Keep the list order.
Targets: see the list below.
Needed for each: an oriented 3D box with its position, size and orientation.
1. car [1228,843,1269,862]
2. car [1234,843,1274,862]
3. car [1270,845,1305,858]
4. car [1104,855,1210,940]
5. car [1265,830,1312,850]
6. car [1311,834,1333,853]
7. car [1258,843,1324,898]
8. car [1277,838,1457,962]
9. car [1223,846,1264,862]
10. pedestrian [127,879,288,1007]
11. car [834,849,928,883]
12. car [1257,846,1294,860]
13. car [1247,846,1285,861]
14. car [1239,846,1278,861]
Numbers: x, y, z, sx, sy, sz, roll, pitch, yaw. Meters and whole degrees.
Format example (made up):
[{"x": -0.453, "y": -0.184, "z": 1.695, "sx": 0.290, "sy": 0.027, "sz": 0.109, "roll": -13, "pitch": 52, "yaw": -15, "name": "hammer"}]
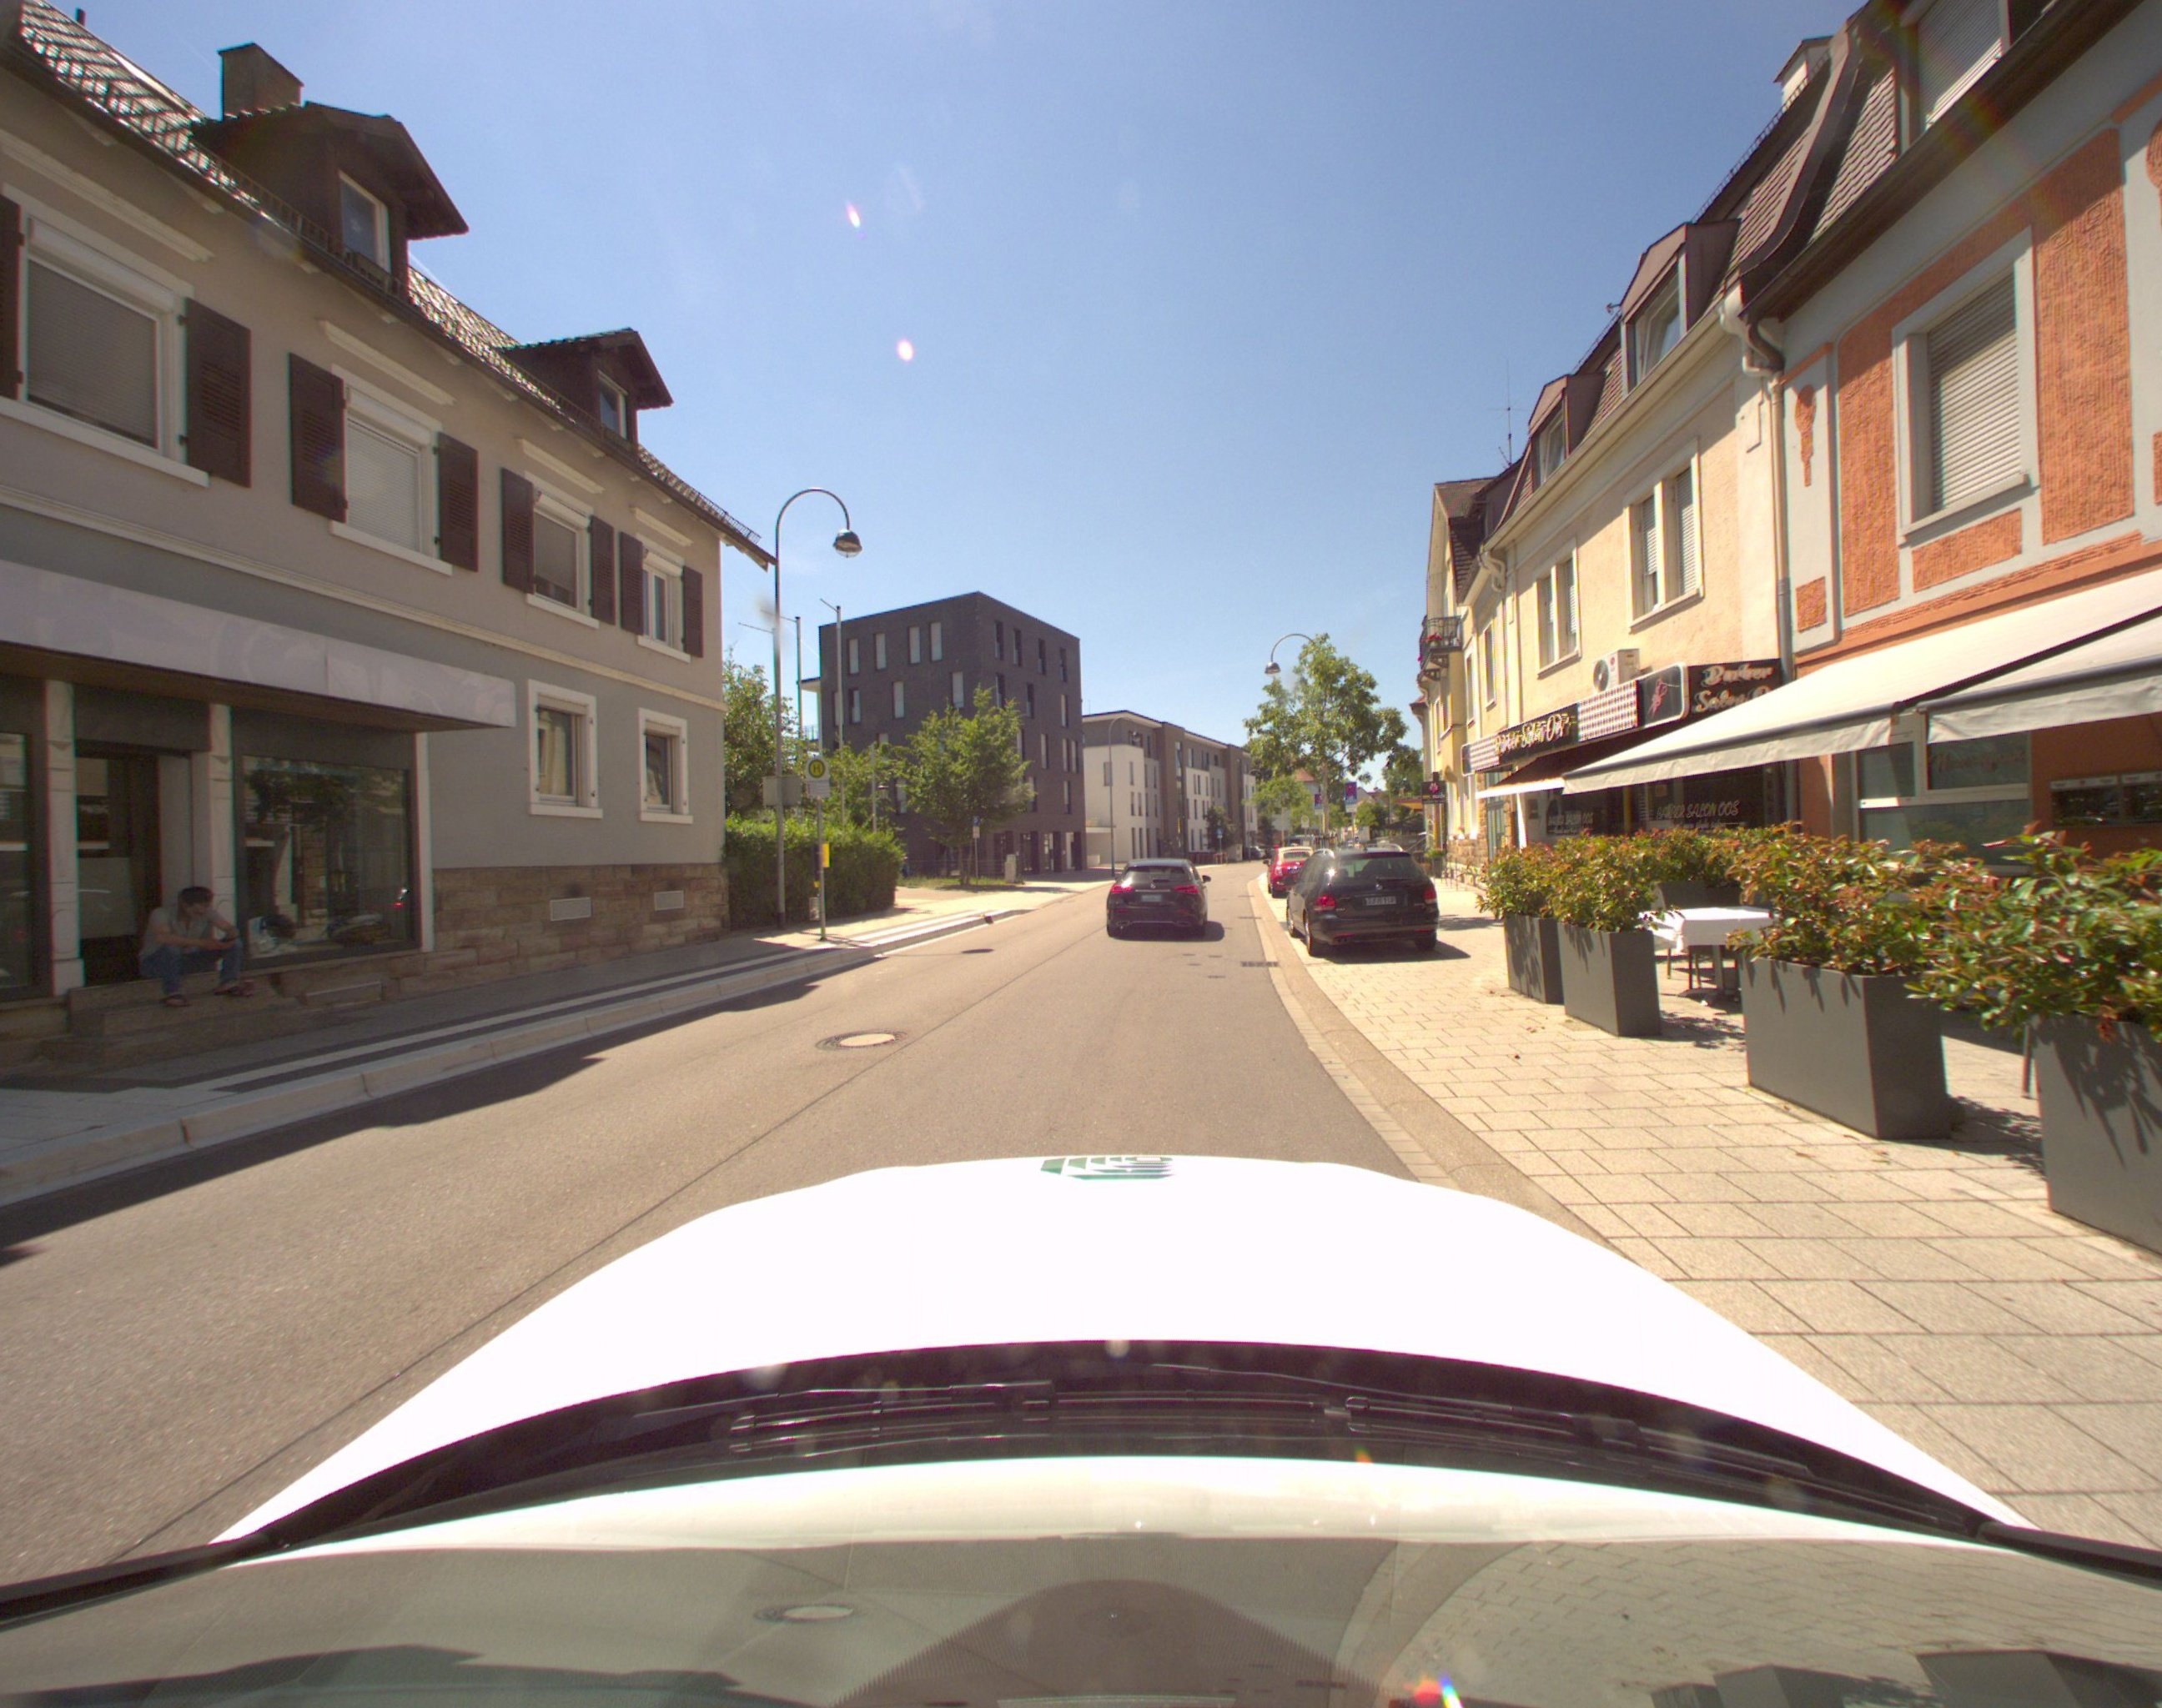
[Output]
[{"x": 18.475, "y": -0.189, "z": 89.832, "sx": 3.949, "sy": 2.013, "sz": 2.012, "roll": -1, "pitch": 0, "yaw": 30, "name": "car"}, {"x": 19.565, "y": -0.155, "z": 91.969, "sx": 3.949, "sy": 2.013, "sz": 2.012, "roll": -1, "pitch": 0, "yaw": 30, "name": "car"}, {"x": 26.710, "y": -0.338, "z": 105.286, "sx": 3.949, "sy": 1.662, "sz": 2.012, "roll": -1, "pitch": 0, "yaw": 29, "name": "car"}, {"x": 1.658, "y": 0.748, "z": 16.354, "sx": 1.752, "sy": 1.457, "sz": 4.451, "roll": 0, "pitch": 0, "yaw": 10, "name": "car"}, {"x": 28.154, "y": -1.860, "z": 110.386, "sx": 5.588, "sy": 2.579, "sz": 2.531, "roll": -1, "pitch": 0, "yaw": 30, "name": "car"}, {"x": 25.761, "y": -1.100, "z": 86.926, "sx": 1.977, "sy": 2.013, "sz": 4.019, "roll": -1, "pitch": 0, "yaw": 19, "name": "car"}, {"x": 6.532, "y": 0.470, "z": 25.639, "sx": 1.596, "sy": 1.530, "sz": 3.500, "roll": -3, "pitch": 0, "yaw": 8, "name": "car"}, {"x": 4.134, "y": 0.593, "z": 12.423, "sx": 1.740, "sy": 1.486, "sz": 4.009, "roll": -4, "pitch": -1, "yaw": 8, "name": "car"}, {"x": 17.462, "y": 0.021, "z": 87.530, "sx": 3.949, "sy": 1.662, "sz": 2.012, "roll": -1, "pitch": 0, "yaw": 29, "name": "car"}, {"x": -7.746, "y": 0.767, "z": 7.251, "sx": 0.667, "sy": 1.054, "sz": 0.701, "roll": -1, "pitch": 0, "yaw": 5, "name": "pedestrian"}, {"x": -10.077, "y": 0.581, "z": 41.223, "sx": 1.974, "sy": 1.569, "sz": 4.194, "roll": -1, "pitch": 0, "yaw": 41, "name": "car"}, {"x": 23.974, "y": -0.076, "z": 100.239, "sx": 3.949, "sy": 1.662, "sz": 2.012, "roll": -1, "pitch": 0, "yaw": 29, "name": "car"}, {"x": 22.013, "y": -0.044, "z": 96.856, "sx": 3.949, "sy": 1.662, "sz": 2.012, "roll": -1, "pitch": 0, "yaw": 29, "name": "car"}, {"x": 20.544, "y": -0.010, "z": 94.369, "sx": 3.949, "sy": 1.662, "sz": 2.012, "roll": -1, "pitch": 0, "yaw": 29, "name": "car"}]
